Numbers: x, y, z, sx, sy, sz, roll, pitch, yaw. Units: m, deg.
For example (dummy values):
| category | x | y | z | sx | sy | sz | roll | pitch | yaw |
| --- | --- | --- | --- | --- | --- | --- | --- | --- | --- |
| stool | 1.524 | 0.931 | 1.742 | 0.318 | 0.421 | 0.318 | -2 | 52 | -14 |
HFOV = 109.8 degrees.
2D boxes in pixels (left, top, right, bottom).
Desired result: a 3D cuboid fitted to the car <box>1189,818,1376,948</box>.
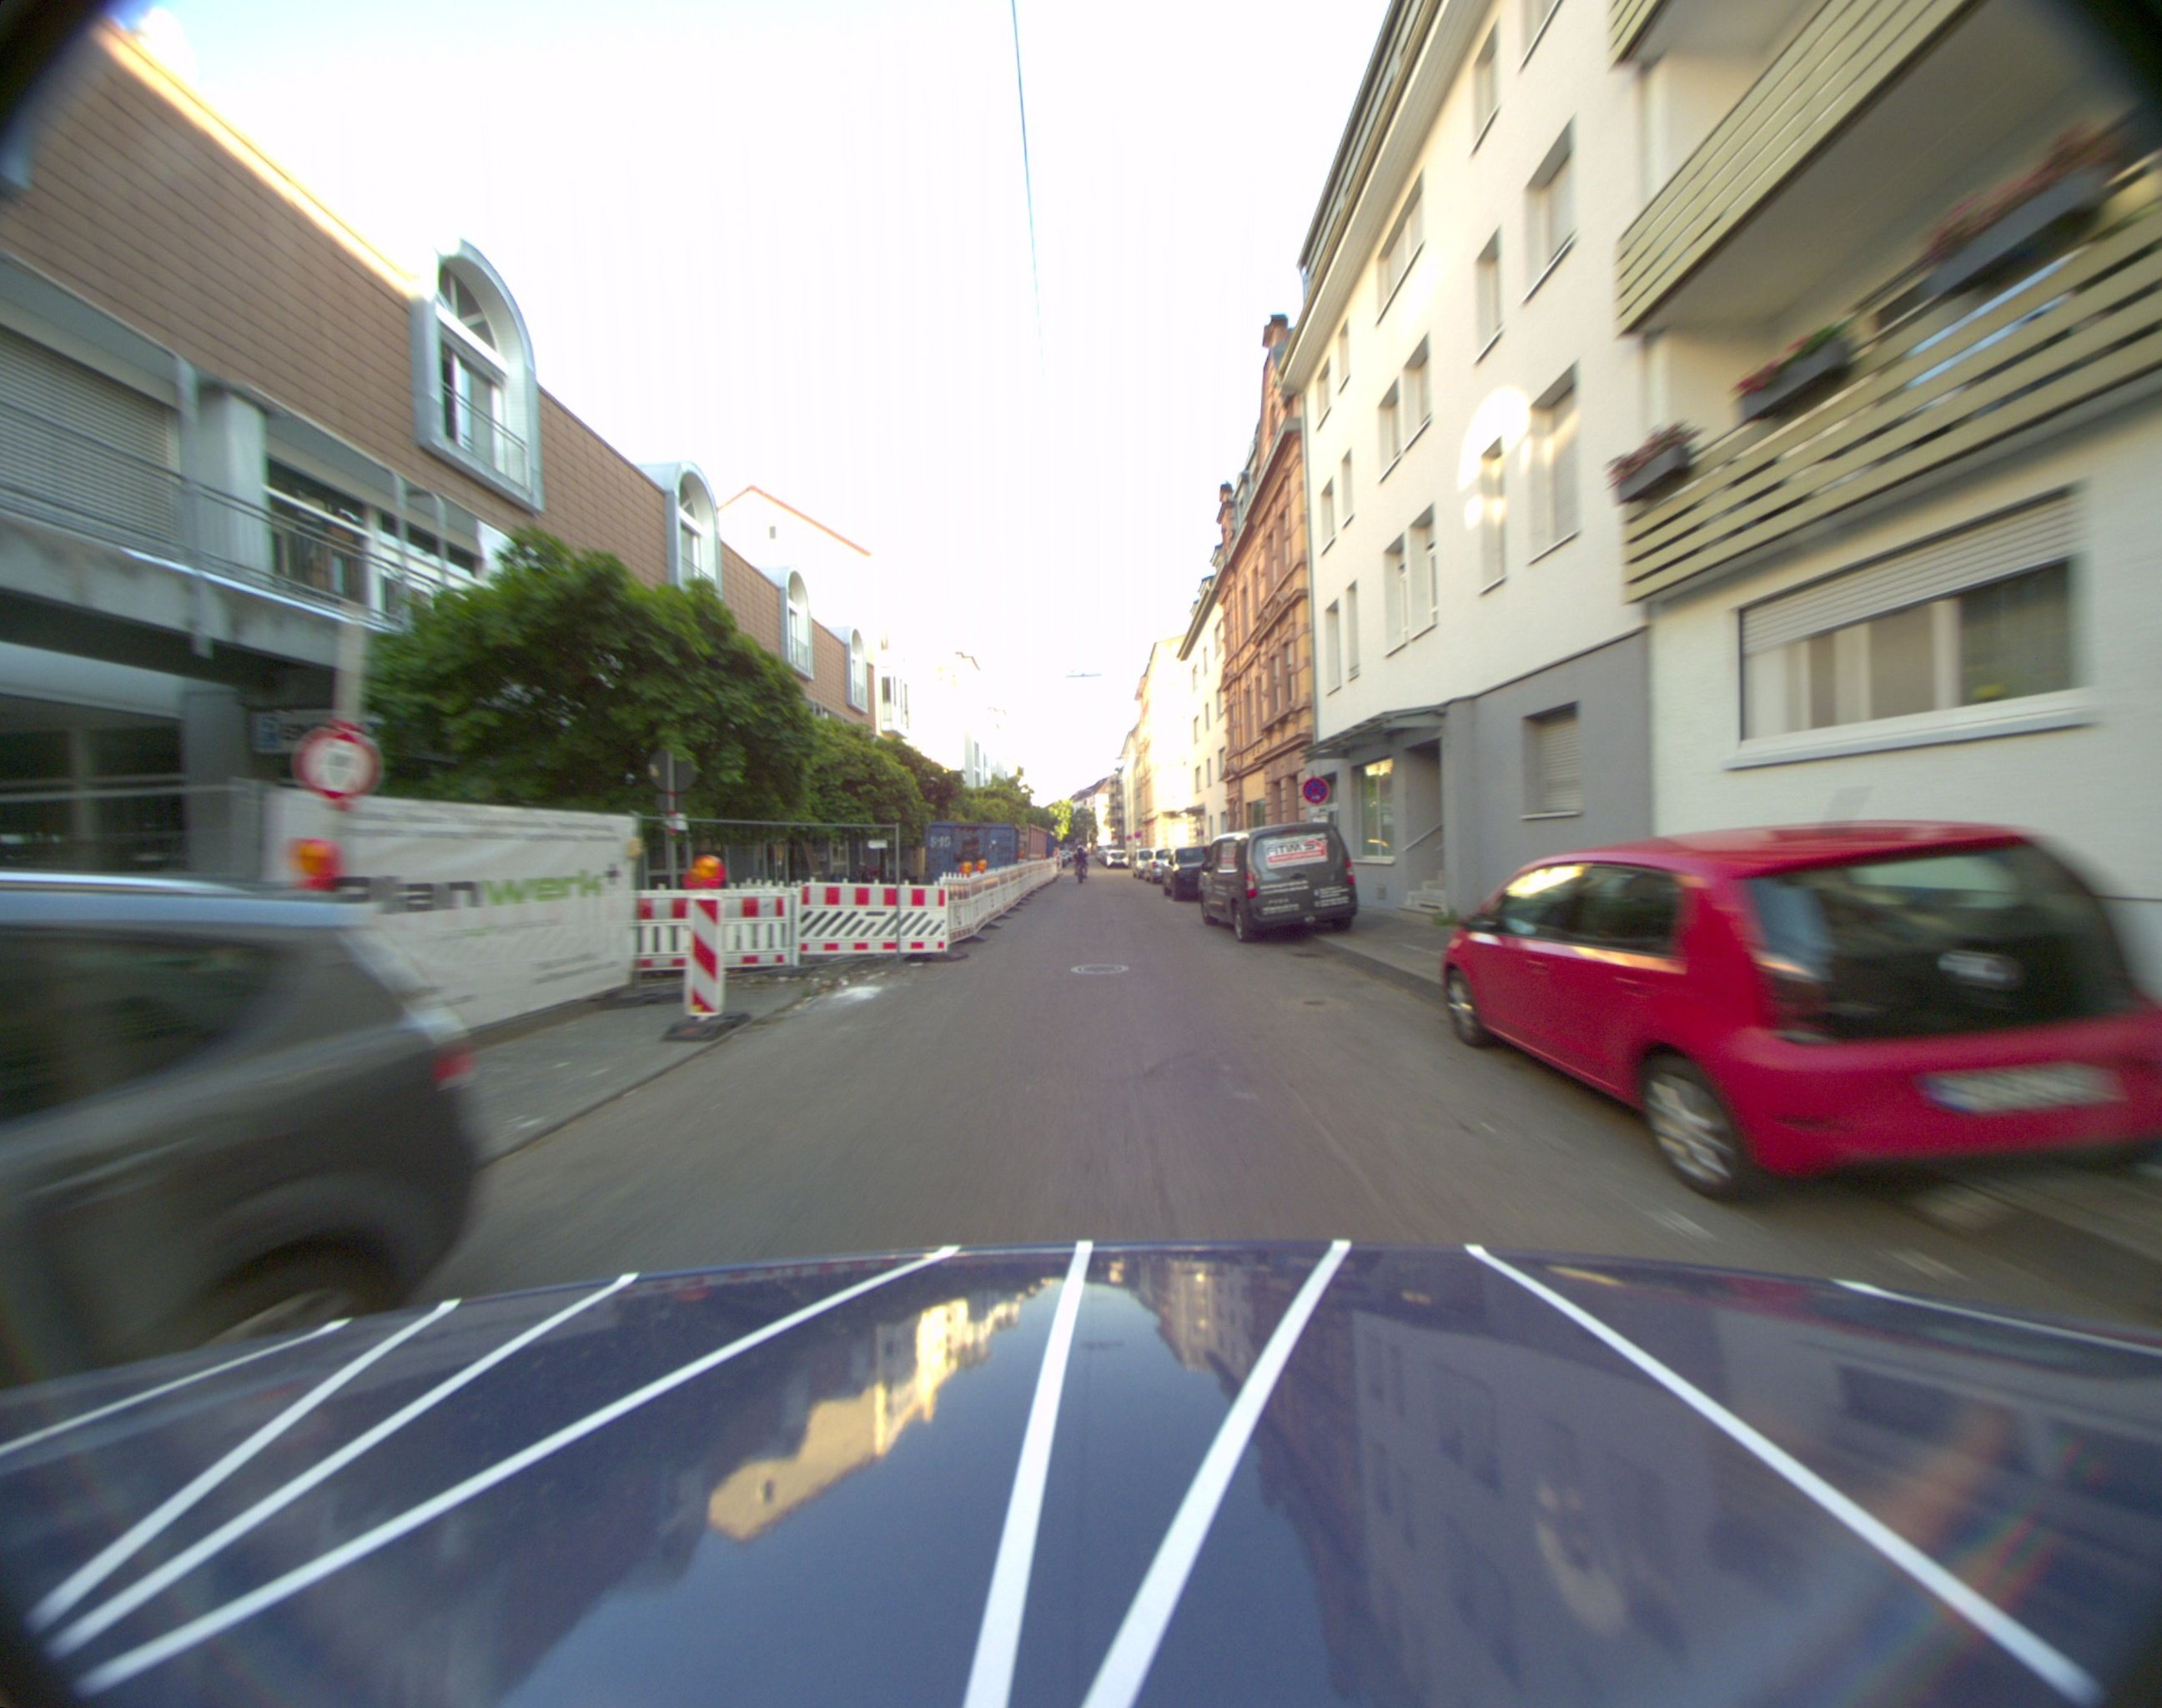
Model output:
| category | x | y | z | sx | sy | sz | roll | pitch | yaw |
| --- | --- | --- | --- | --- | --- | --- | --- | --- | --- |
| car | 3.323 | 0.402 | 13.553 | 1.999 | 1.848 | 4.583 | -3 | 1 | -1 |

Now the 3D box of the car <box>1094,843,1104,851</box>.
| category | x | y | z | sx | sy | sz | roll | pitch | yaw |
| --- | --- | --- | --- | --- | --- | --- | --- | --- | --- |
| car | 3.841 | -1.499 | 162.641 | 1.998 | 1.783 | 3.999 | -3 | 1 | 1 |

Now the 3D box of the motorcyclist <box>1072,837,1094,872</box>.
| category | x | y | z | sx | sy | sz | roll | pitch | yaw |
| --- | --- | --- | --- | --- | --- | --- | --- | --- | --- |
| motorcyclist | 0.097 | 0.031 | 34.623 | 0.874 | 1.558 | 0.999 | -4 | -1 | -2 |

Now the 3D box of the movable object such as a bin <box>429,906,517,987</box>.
| category | x | y | z | sx | sy | sz | roll | pitch | yaw |
| --- | --- | --- | --- | --- | --- | --- | --- | --- | --- |
| movable object such as a bin | -8.244 | 1.237 | 10.328 | 0.558 | 0.970 | 0.712 | -4 | 1 | -4 |

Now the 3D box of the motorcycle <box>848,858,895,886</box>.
| category | x | y | z | sx | sy | sz | roll | pitch | yaw |
| --- | --- | --- | --- | --- | --- | --- | --- | --- | --- |
| motorcycle | -10.038 | 0.859 | 36.542 | 0.871 | 1.216 | 2.459 | -1 | 2 | 19 |

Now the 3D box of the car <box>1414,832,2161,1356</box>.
| category | x | y | z | sx | sy | sz | roll | pitch | yaw |
| --- | --- | --- | --- | --- | --- | --- | --- | --- | --- |
| car | 3.364 | 0.728 | 4.120 | 1.672 | 1.477 | 3.606 | -7 | 1 | 6 |

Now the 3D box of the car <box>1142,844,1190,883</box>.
| category | x | y | z | sx | sy | sz | roll | pitch | yaw |
| --- | --- | --- | --- | --- | --- | --- | --- | --- | --- |
| car | 3.630 | 0.369 | 32.983 | 1.559 | 1.500 | 3.597 | -5 | 1 | 0 |

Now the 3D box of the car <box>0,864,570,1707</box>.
| category | x | y | z | sx | sy | sz | roll | pitch | yaw |
| --- | --- | --- | --- | --- | --- | --- | --- | --- | --- |
| car | -2.857 | 0.949 | 0.488 | 1.753 | 1.673 | 4.525 | -3 | 1 | 3 |

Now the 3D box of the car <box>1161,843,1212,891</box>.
| category | x | y | z | sx | sy | sz | roll | pitch | yaw |
| --- | --- | --- | --- | --- | --- | --- | --- | --- | --- |
| car | 3.671 | 0.442 | 26.819 | 1.399 | 1.579 | 2.793 | -1 | 0 | 0 |

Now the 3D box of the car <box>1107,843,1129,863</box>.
| category | x | y | z | sx | sy | sz | roll | pitch | yaw |
| --- | --- | --- | --- | --- | --- | --- | --- | --- | --- |
| car | 3.042 | -0.093 | 62.331 | 1.688 | 1.487 | 3.844 | 1 | 1 | 2 |

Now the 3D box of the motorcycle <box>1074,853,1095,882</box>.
| category | x | y | z | sx | sy | sz | roll | pitch | yaw |
| --- | --- | --- | --- | --- | --- | --- | --- | --- | --- |
| motorcycle | 0.139 | 0.629 | 34.675 | 0.806 | 1.242 | 1.698 | -4 | -1 | -2 |

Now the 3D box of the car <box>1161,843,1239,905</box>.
| category | x | y | z | sx | sy | sz | roll | pitch | yaw |
| --- | --- | --- | --- | --- | --- | --- | --- | --- | --- |
| car | 3.389 | 0.506 | 22.334 | 1.744 | 1.590 | 4.014 | -3 | 1 | 2 |

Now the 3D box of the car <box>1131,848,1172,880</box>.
| category | x | y | z | sx | sy | sz | roll | pitch | yaw |
| --- | --- | --- | --- | --- | --- | --- | --- | --- | --- |
| car | 3.515 | 0.477 | 38.435 | 1.636 | 1.422 | 3.554 | -3 | 1 | -1 |
